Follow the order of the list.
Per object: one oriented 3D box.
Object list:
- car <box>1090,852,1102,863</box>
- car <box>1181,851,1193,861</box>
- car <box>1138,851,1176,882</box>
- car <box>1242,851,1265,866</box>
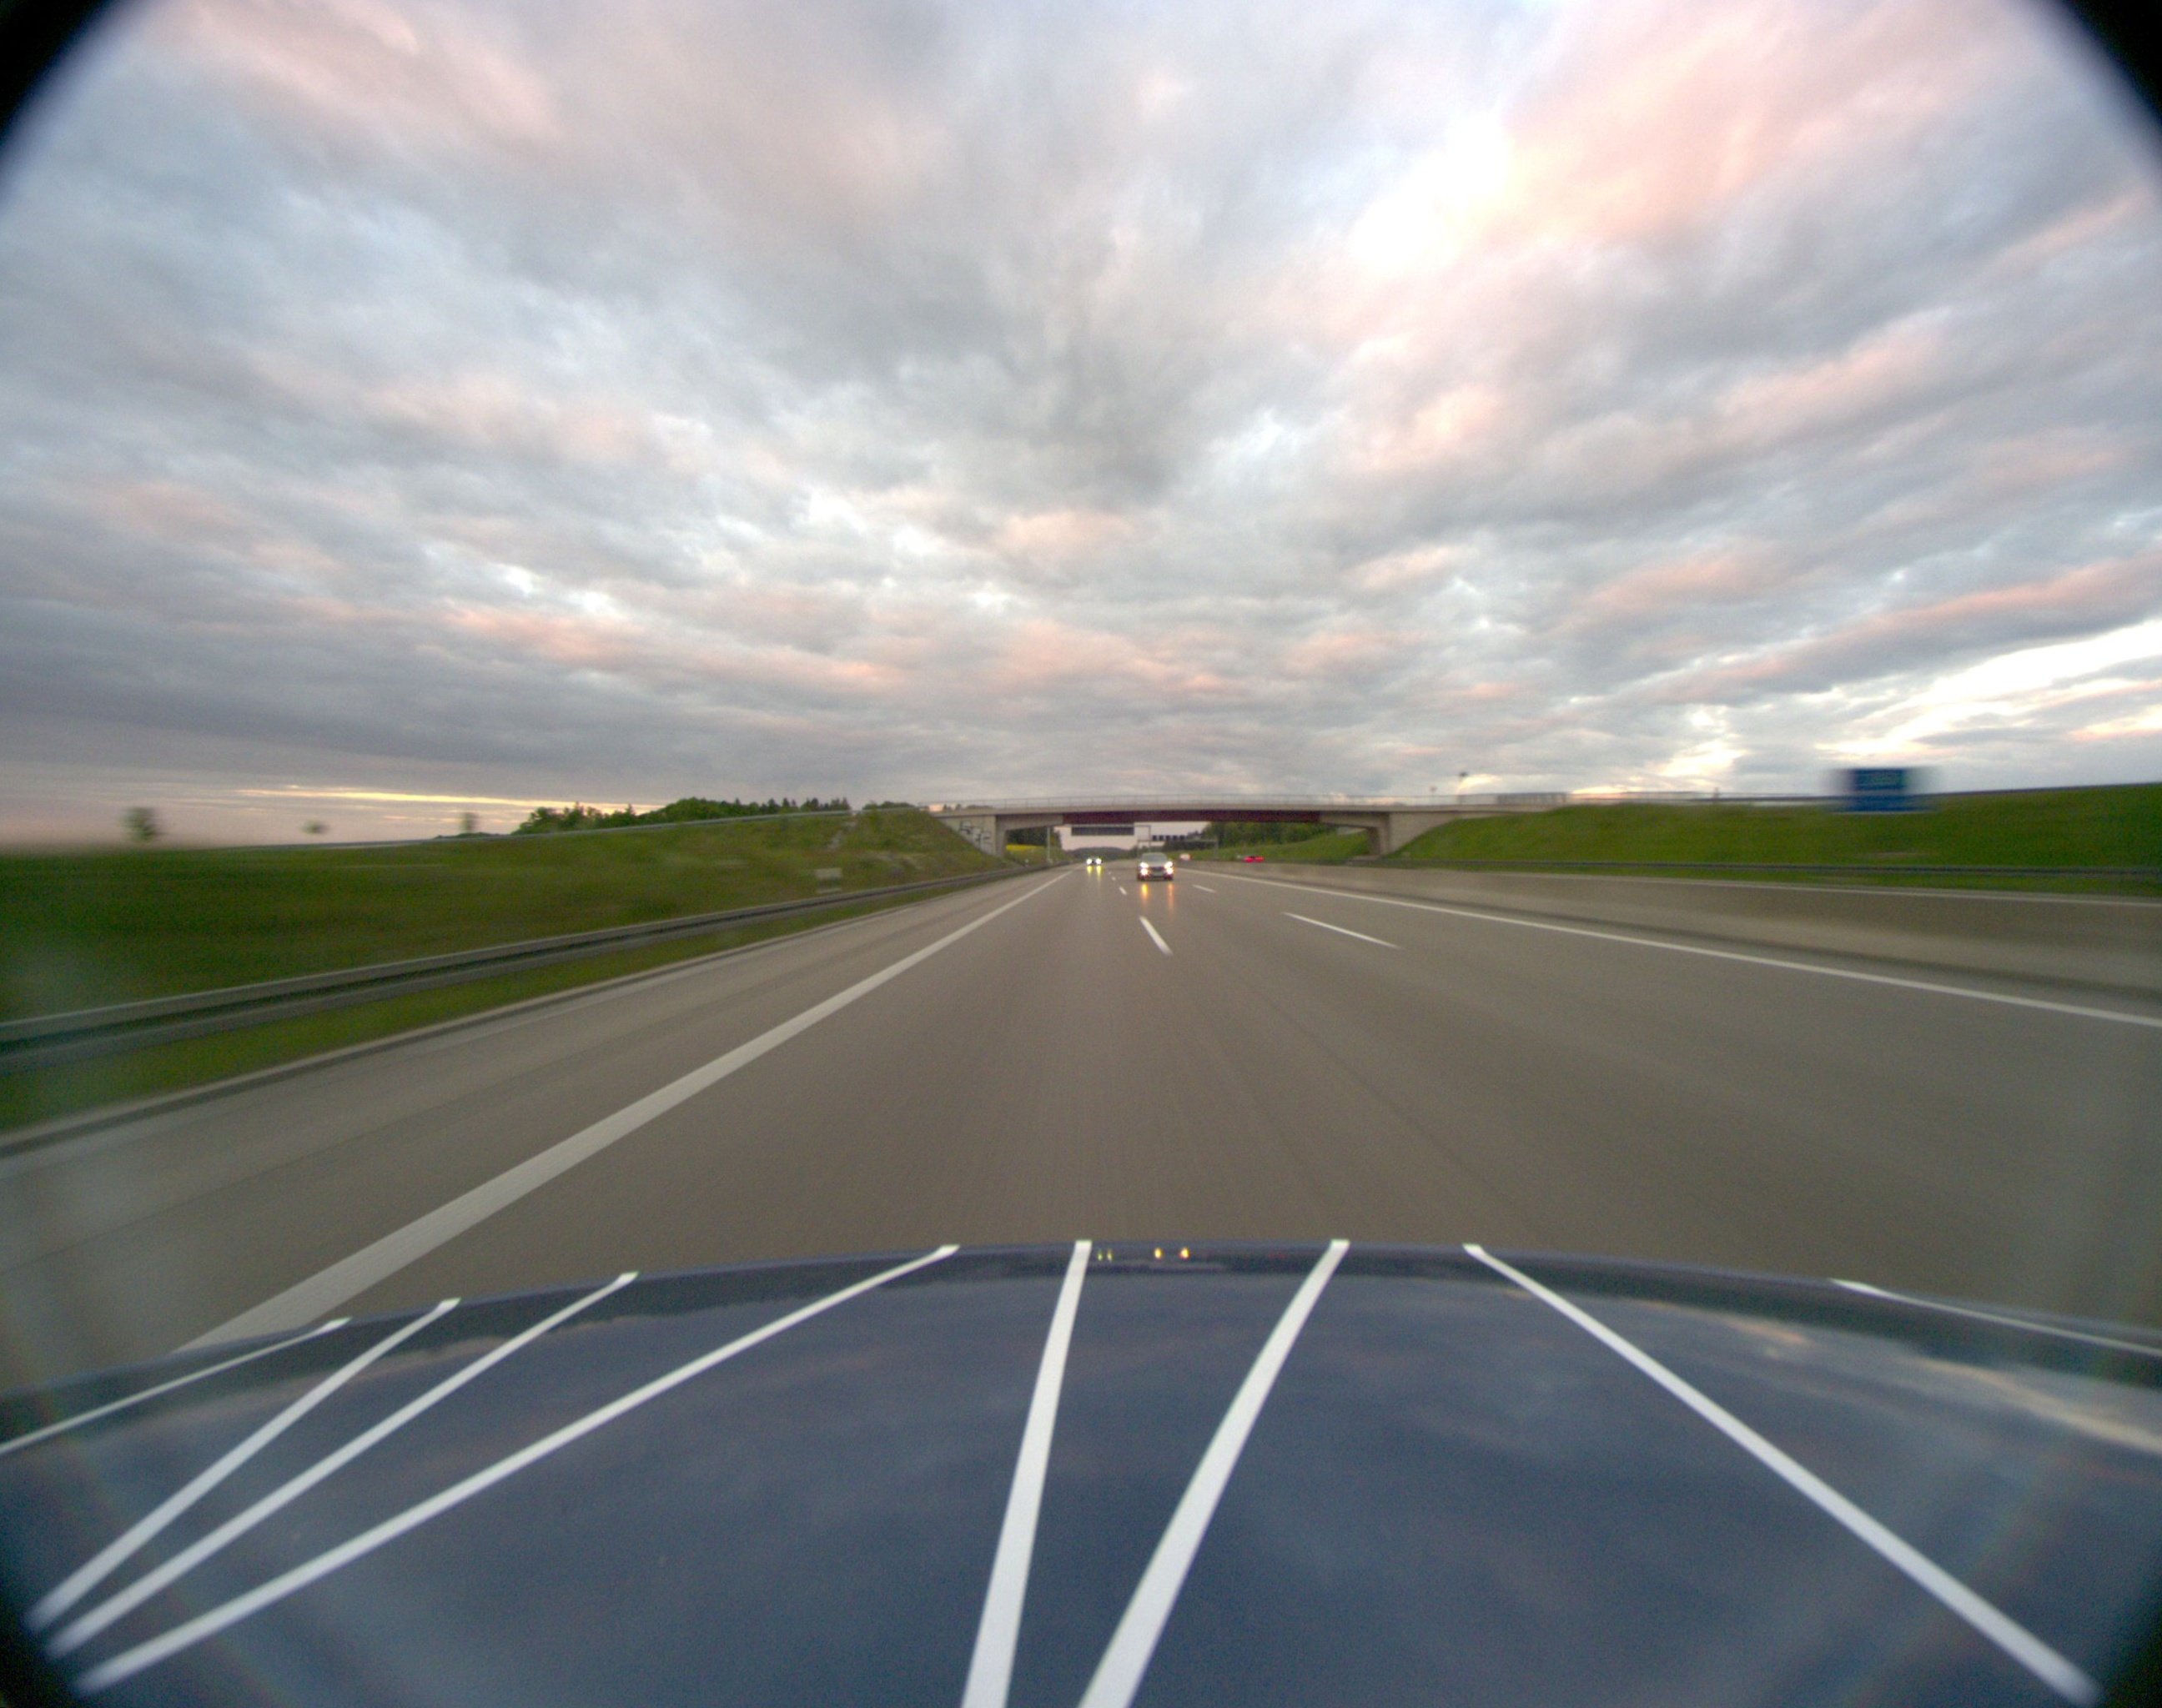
[{"bbox_3d":[2.457,0.535,122.415,1.801,1.674,4.385,-1,1,1],"label":"car"},{"bbox_3d":[22.788,0.431,163.887,1.827,1.924,4.894,-2,0,0],"label":"car"},{"bbox_3d":[4.504,0.676,45.835,1.857,1.683,5.512,-1,1,1],"label":"car"},{"bbox_3d":[20.879,0.503,92.173,1.829,1.653,4.651,-2,0,1],"label":"car"}]
